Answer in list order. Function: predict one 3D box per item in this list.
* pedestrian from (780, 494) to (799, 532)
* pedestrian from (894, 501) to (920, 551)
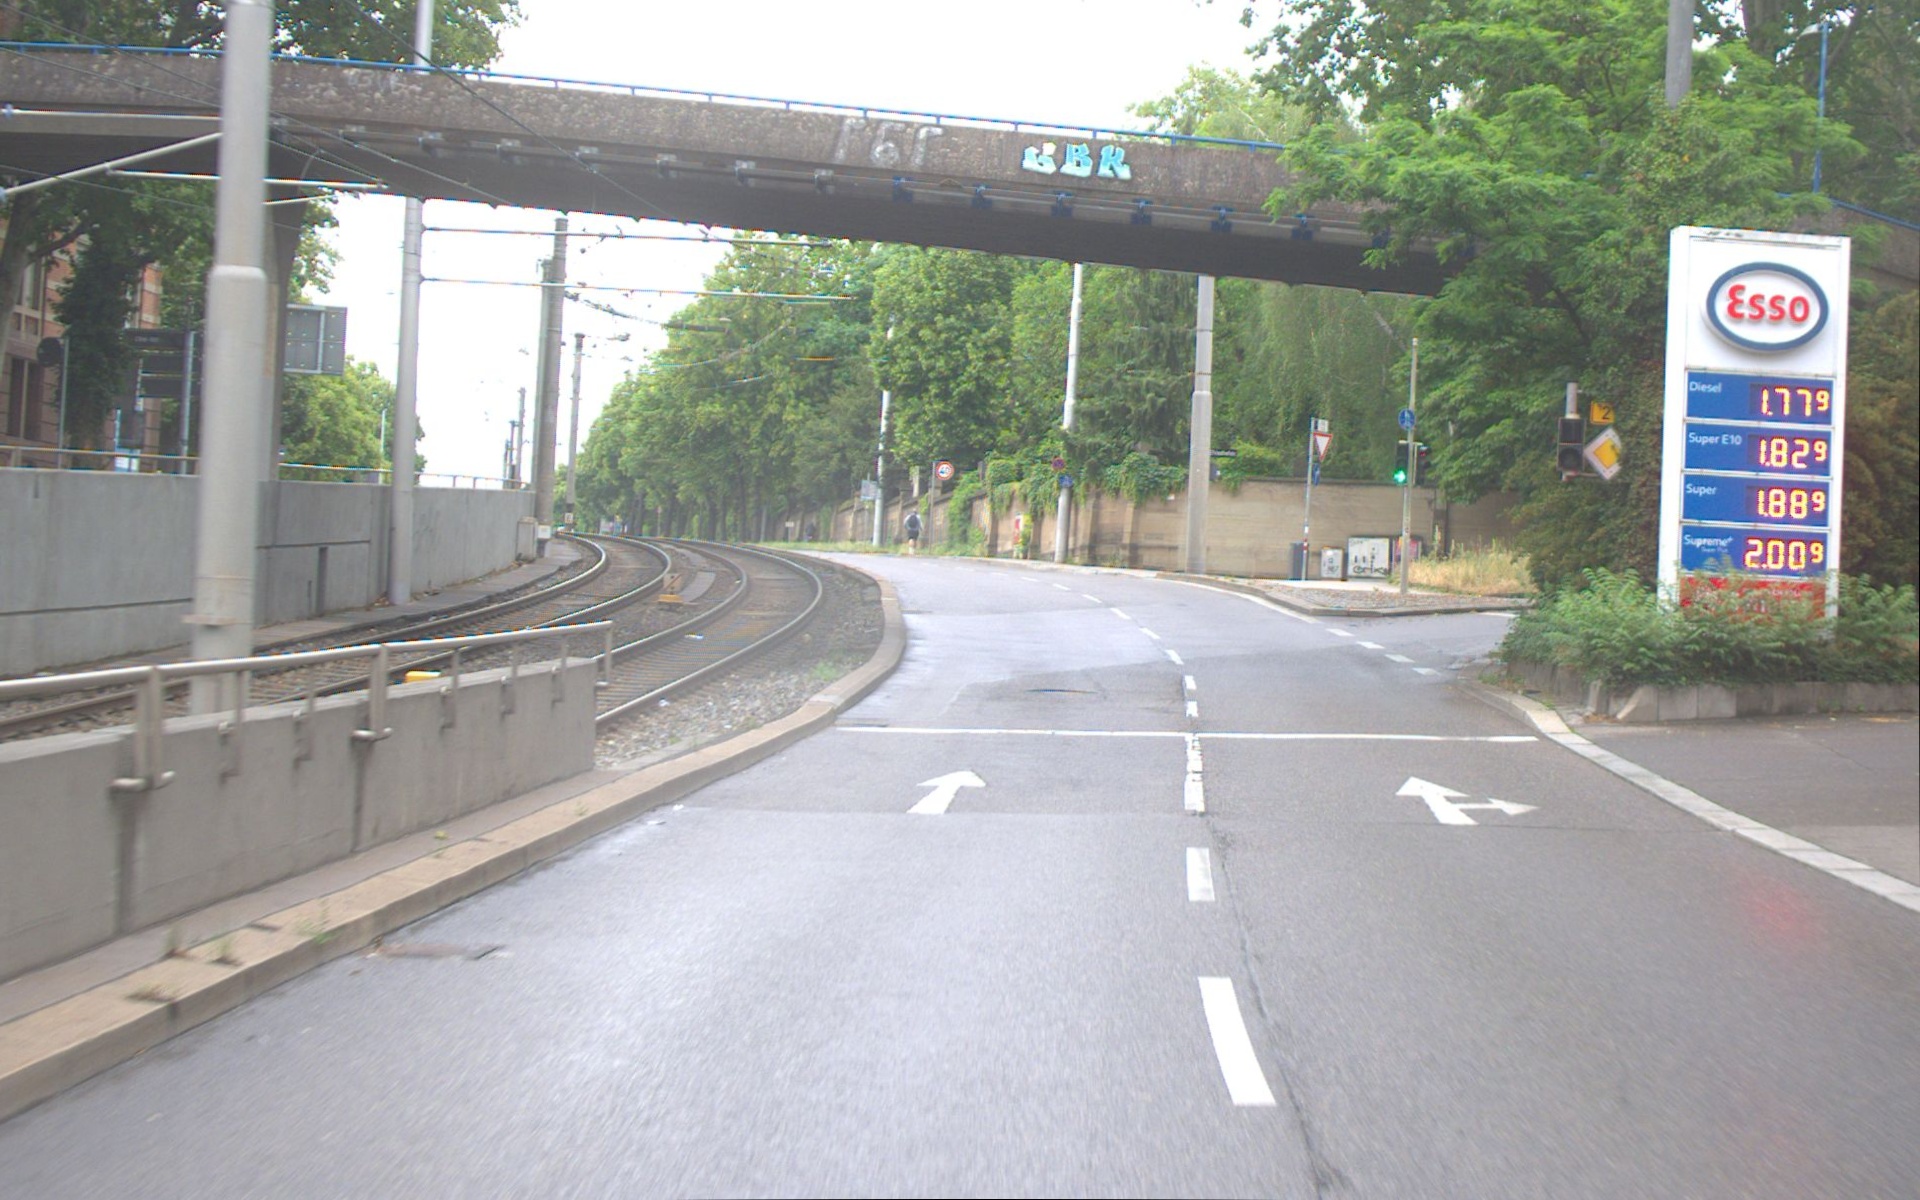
[{"bbox_3d":[-7.864,-3.999,158.478,0.719,1.681,0.729,4,0,-9],"label":"pedestrian"},{"bbox_3d":[-1.983,-2.771,128.910,0.719,1.843,0.783,4,0,-9],"label":"pedestrian"}]
